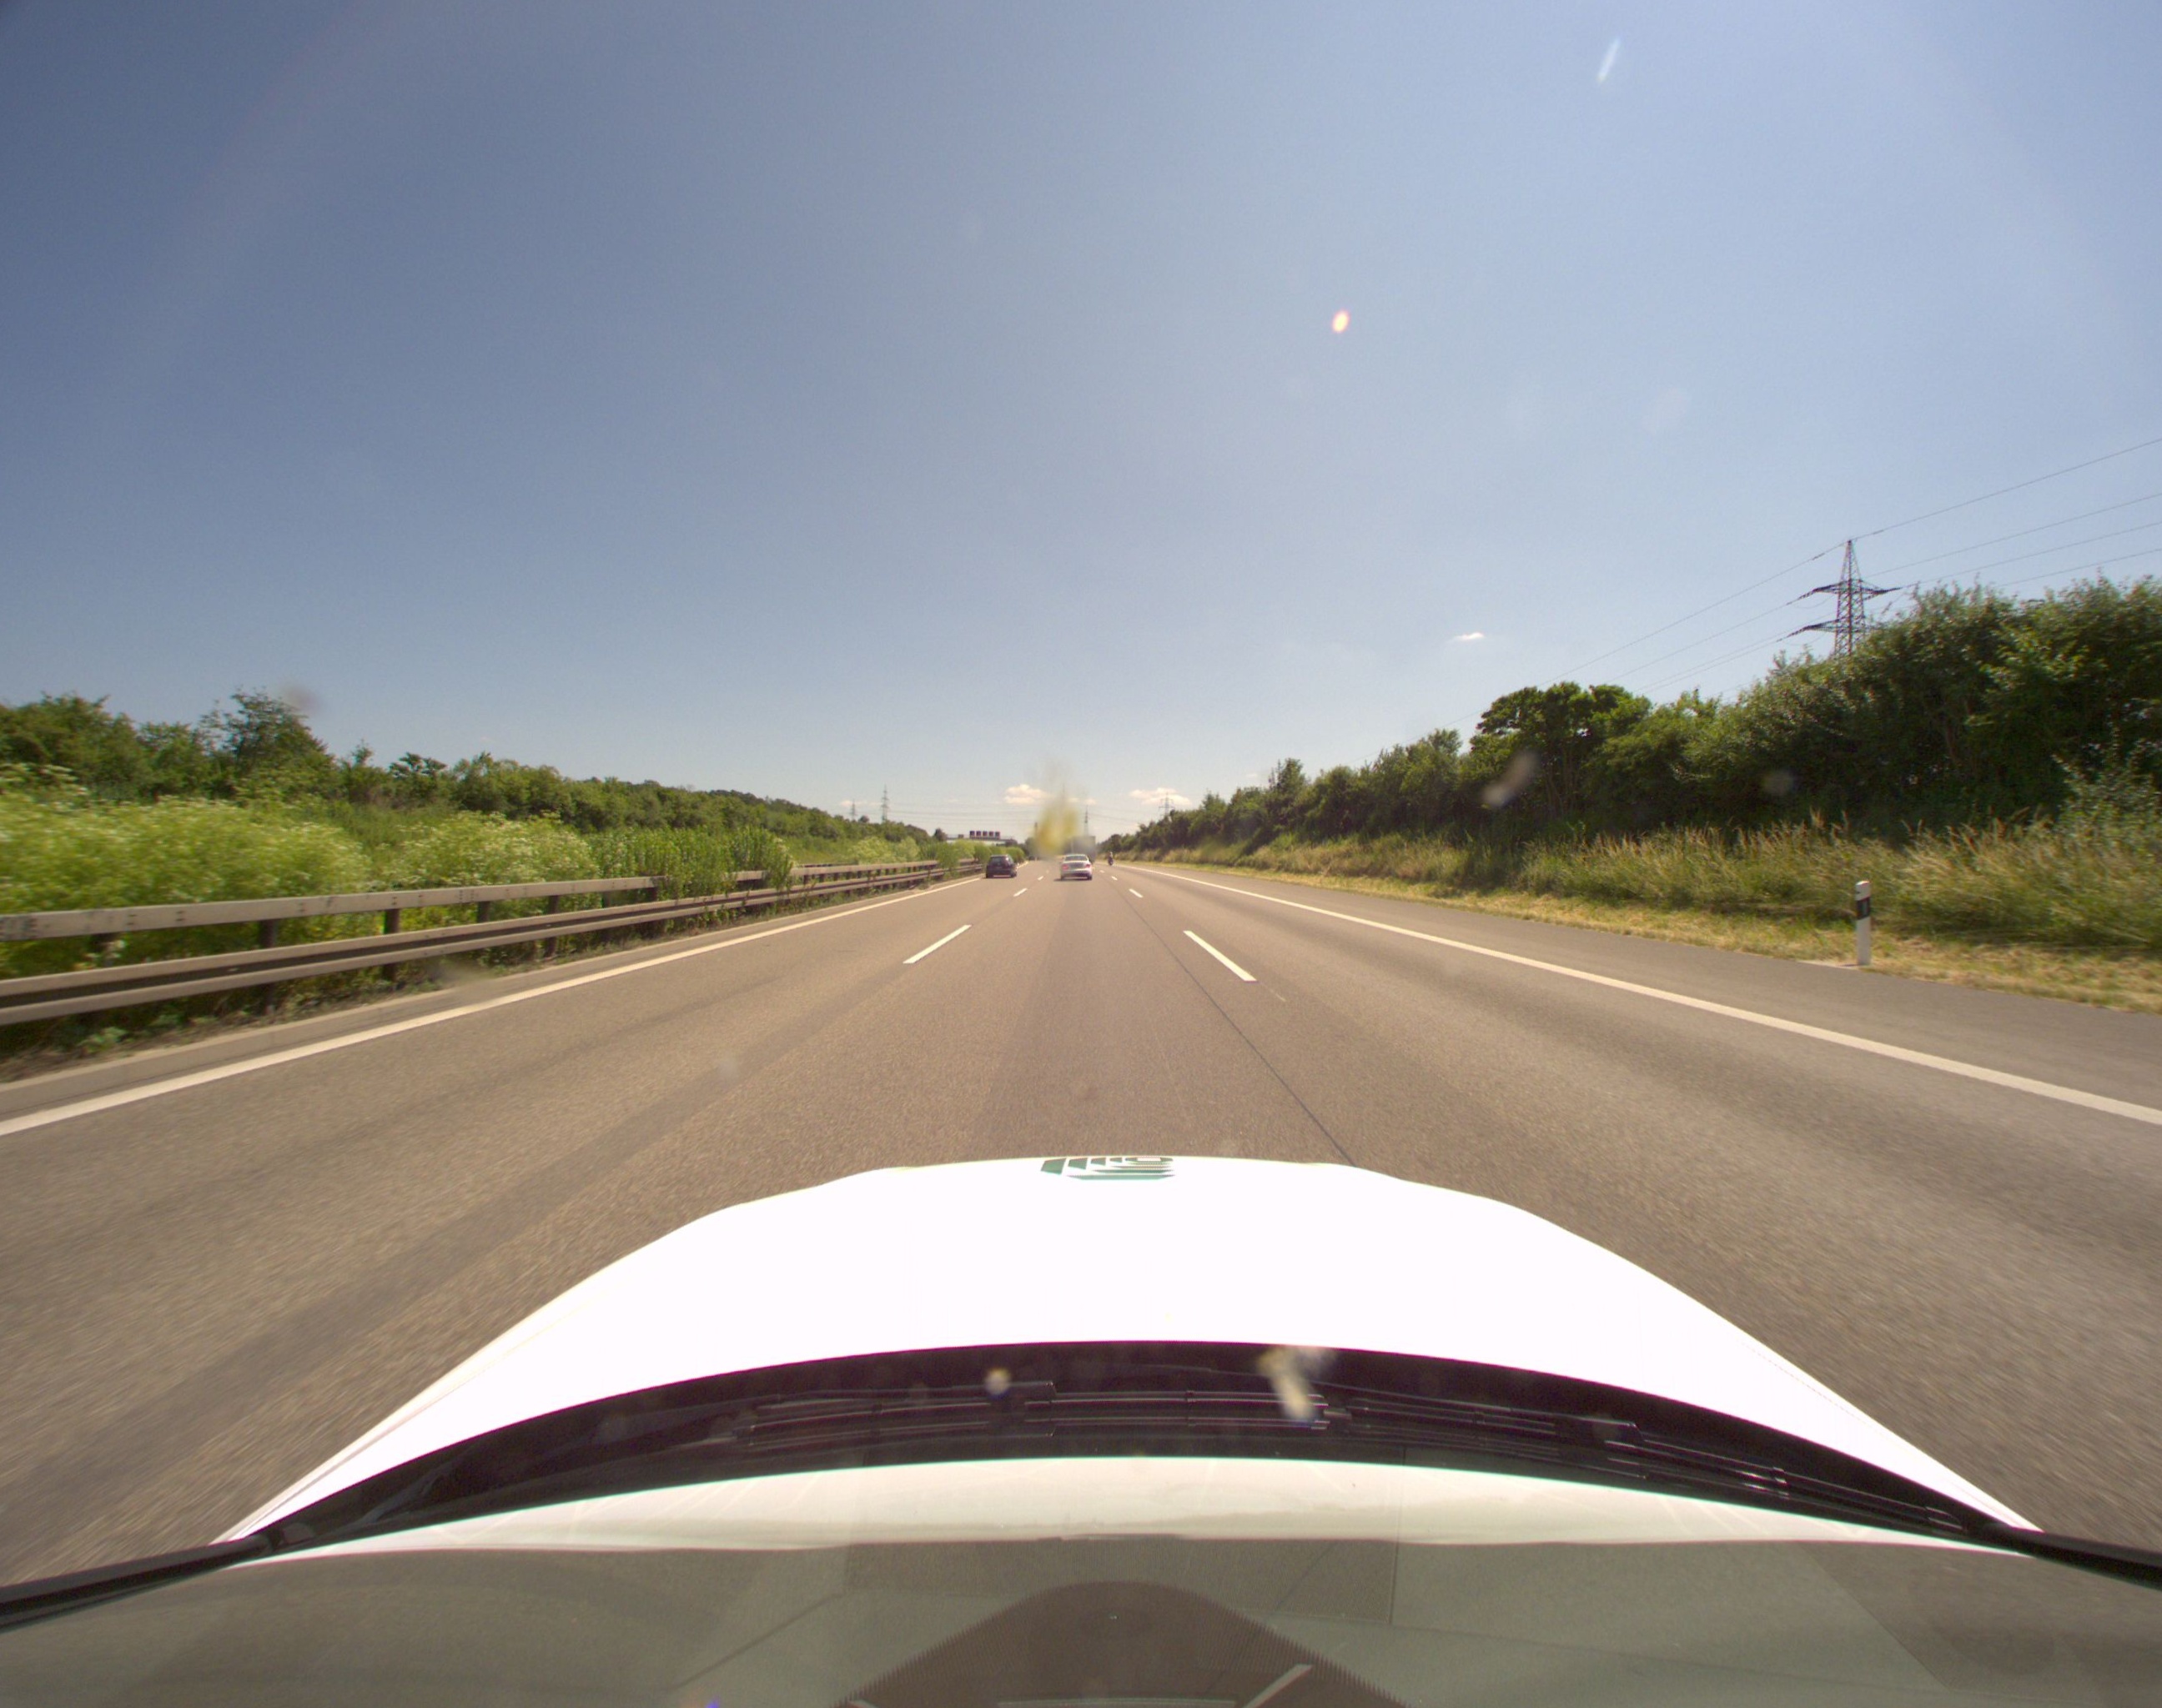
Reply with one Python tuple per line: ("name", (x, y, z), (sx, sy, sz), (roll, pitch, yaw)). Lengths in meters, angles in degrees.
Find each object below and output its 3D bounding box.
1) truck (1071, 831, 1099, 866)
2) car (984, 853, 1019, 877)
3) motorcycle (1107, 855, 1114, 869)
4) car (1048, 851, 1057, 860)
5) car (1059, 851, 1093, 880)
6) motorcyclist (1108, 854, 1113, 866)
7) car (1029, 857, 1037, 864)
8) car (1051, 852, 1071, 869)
("truck", (0.395, -0.625, 97.473), (3.212, 3.924, 9.056), (-1, 0, -1))
("car", (-5.062, 0.662, 52.156), (1.750, 1.429, 4.001), (-1, 0, 1))
("motorcycle", (3.708, 0.991, 101.245), (0.807, 1.607, 1.782), (-1, 0, 0))
("car", (-6.156, 0.347, 175.397), (1.896, 1.925, 3.998), (-1, 0, -2))
("car", (-0.294, 0.621, 46.031), (1.814, 1.540, 3.913), (-1, 0, -1))
("motorcyclist", (3.638, 0.732, 101.211), (0.570, 1.479, 0.700), (-1, 0, 0))
("car", (-12.272, 1.612, 207.456), (1.990, 1.859, 3.994), (-1, 0, -4))
("car", (-1.923, 0.646, 79.096), (1.833, 1.540, 3.914), (-1, 0, 0))
